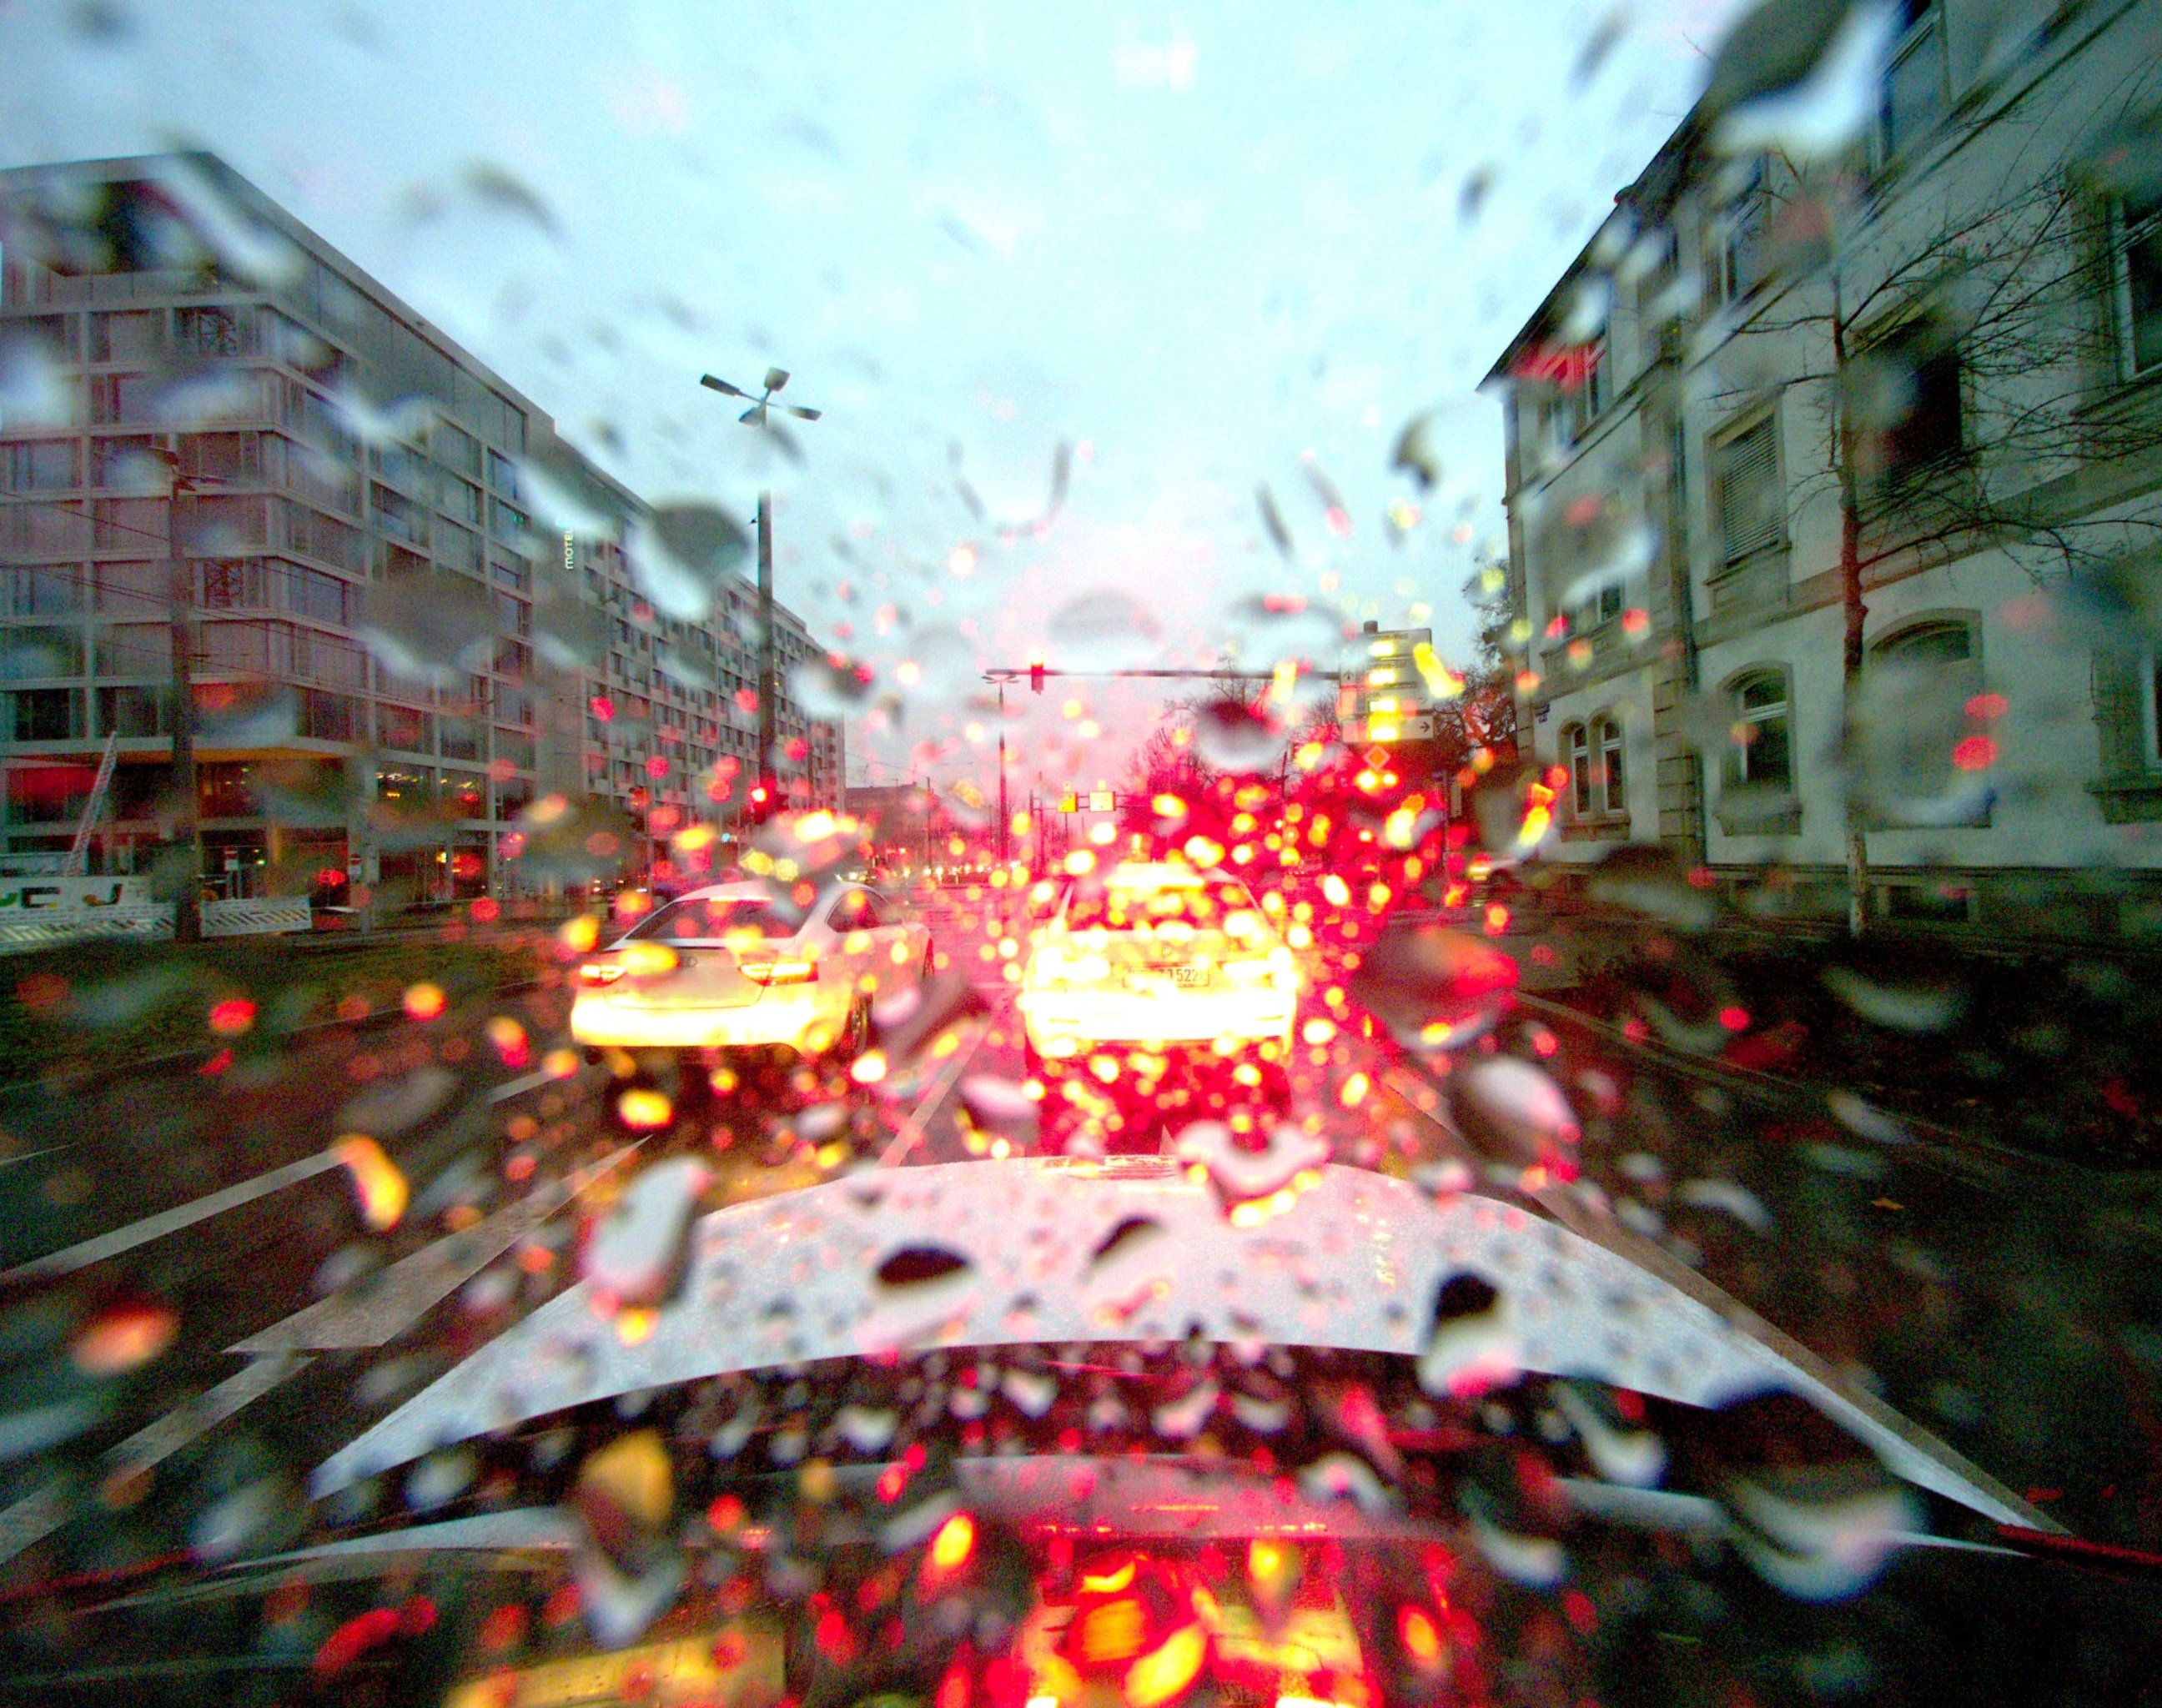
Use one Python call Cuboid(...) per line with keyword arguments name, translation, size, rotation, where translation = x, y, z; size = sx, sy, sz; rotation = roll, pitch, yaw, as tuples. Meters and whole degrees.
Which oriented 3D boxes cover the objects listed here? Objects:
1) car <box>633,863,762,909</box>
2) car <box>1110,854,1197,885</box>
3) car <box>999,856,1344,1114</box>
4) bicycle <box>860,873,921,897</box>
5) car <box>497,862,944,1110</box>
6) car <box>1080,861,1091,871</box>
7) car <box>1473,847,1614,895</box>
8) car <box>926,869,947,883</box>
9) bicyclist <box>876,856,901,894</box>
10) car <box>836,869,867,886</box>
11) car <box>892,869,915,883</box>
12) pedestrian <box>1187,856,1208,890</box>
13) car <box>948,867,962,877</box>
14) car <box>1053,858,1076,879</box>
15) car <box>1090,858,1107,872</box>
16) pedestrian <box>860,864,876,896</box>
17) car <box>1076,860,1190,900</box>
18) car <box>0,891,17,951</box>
Cuboid(name="car", translation=(-14.024, 1.161, 29.994), size=(3.993, 1.622, 1.711), rotation=(0, -1, -15))
Cuboid(name="car", translation=(3.464, 0.752, 39.484), size=(3.949, 1.402, 1.768), rotation=(-1, -2, 43))
Cuboid(name="car", translation=(0.530, 0.761, 6.918), size=(1.987, 1.456, 4.367), rotation=(-1, 0, 0))
Cuboid(name="bicycle", translation=(-8.887, 1.432, 38.012), size=(2.662, 1.089, 0.813), rotation=(0, -1, -5))
Cuboid(name="car", translation=(-2.593, 0.829, 7.211), size=(1.987, 1.456, 4.367), rotation=(-1, 0, 0))
Cuboid(name="car", translation=(0.786, 1.945, 134.036), size=(1.836, 1.609, 3.945), rotation=(0, -1, 1))
Cuboid(name="car", translation=(15.865, 0.609, 28.187), size=(4.056, 1.529, 1.850), rotation=(-1, -1, 23))
Cuboid(name="car", translation=(-16.690, 2.517, 94.234), size=(1.669, 1.508, 3.697), rotation=(0, -1, 1))
Cuboid(name="bicyclist", translation=(-8.984, 0.969, 38.019), size=(0.970, 1.759, 0.812), rotation=(0, -1, -5))
Cuboid(name="car", translation=(-21.040, 2.147, 74.885), size=(1.669, 1.508, 3.697), rotation=(0, -1, 1))
Cuboid(name="car", translation=(-20.327, 2.495, 93.298), size=(1.669, 1.508, 3.697), rotation=(0, -1, 1))
Cuboid(name="pedestrian", translation=(6.329, 1.025, 44.118), size=(0.894, 1.856, 0.817), rotation=(-1, -1, 26))
Cuboid(name="car", translation=(-21.137, 3.017, 136.555), size=(1.669, 1.508, 3.697), rotation=(0, -1, 1))
Cuboid(name="car", translation=(-1.334, 1.134, 63.982), size=(1.739, 1.554, 3.963), rotation=(0, -1, -3))
Cuboid(name="car", translation=(1.934, 1.225, 90.292), size=(1.836, 1.609, 3.945), rotation=(0, -1, 1))
Cuboid(name="pedestrian", translation=(-11.714, 1.421, 44.763), size=(0.791, 1.712, 0.809), rotation=(0, -1, -13))
Cuboid(name="car", translation=(2.039, 1.007, 31.490), size=(4.063, 1.441, 1.847), rotation=(-1, -1, 14))
Cuboid(name="car", translation=(-28.605, 1.671, 19.432), size=(1.607, 1.478, 3.723), rotation=(-1, -1, 30))
